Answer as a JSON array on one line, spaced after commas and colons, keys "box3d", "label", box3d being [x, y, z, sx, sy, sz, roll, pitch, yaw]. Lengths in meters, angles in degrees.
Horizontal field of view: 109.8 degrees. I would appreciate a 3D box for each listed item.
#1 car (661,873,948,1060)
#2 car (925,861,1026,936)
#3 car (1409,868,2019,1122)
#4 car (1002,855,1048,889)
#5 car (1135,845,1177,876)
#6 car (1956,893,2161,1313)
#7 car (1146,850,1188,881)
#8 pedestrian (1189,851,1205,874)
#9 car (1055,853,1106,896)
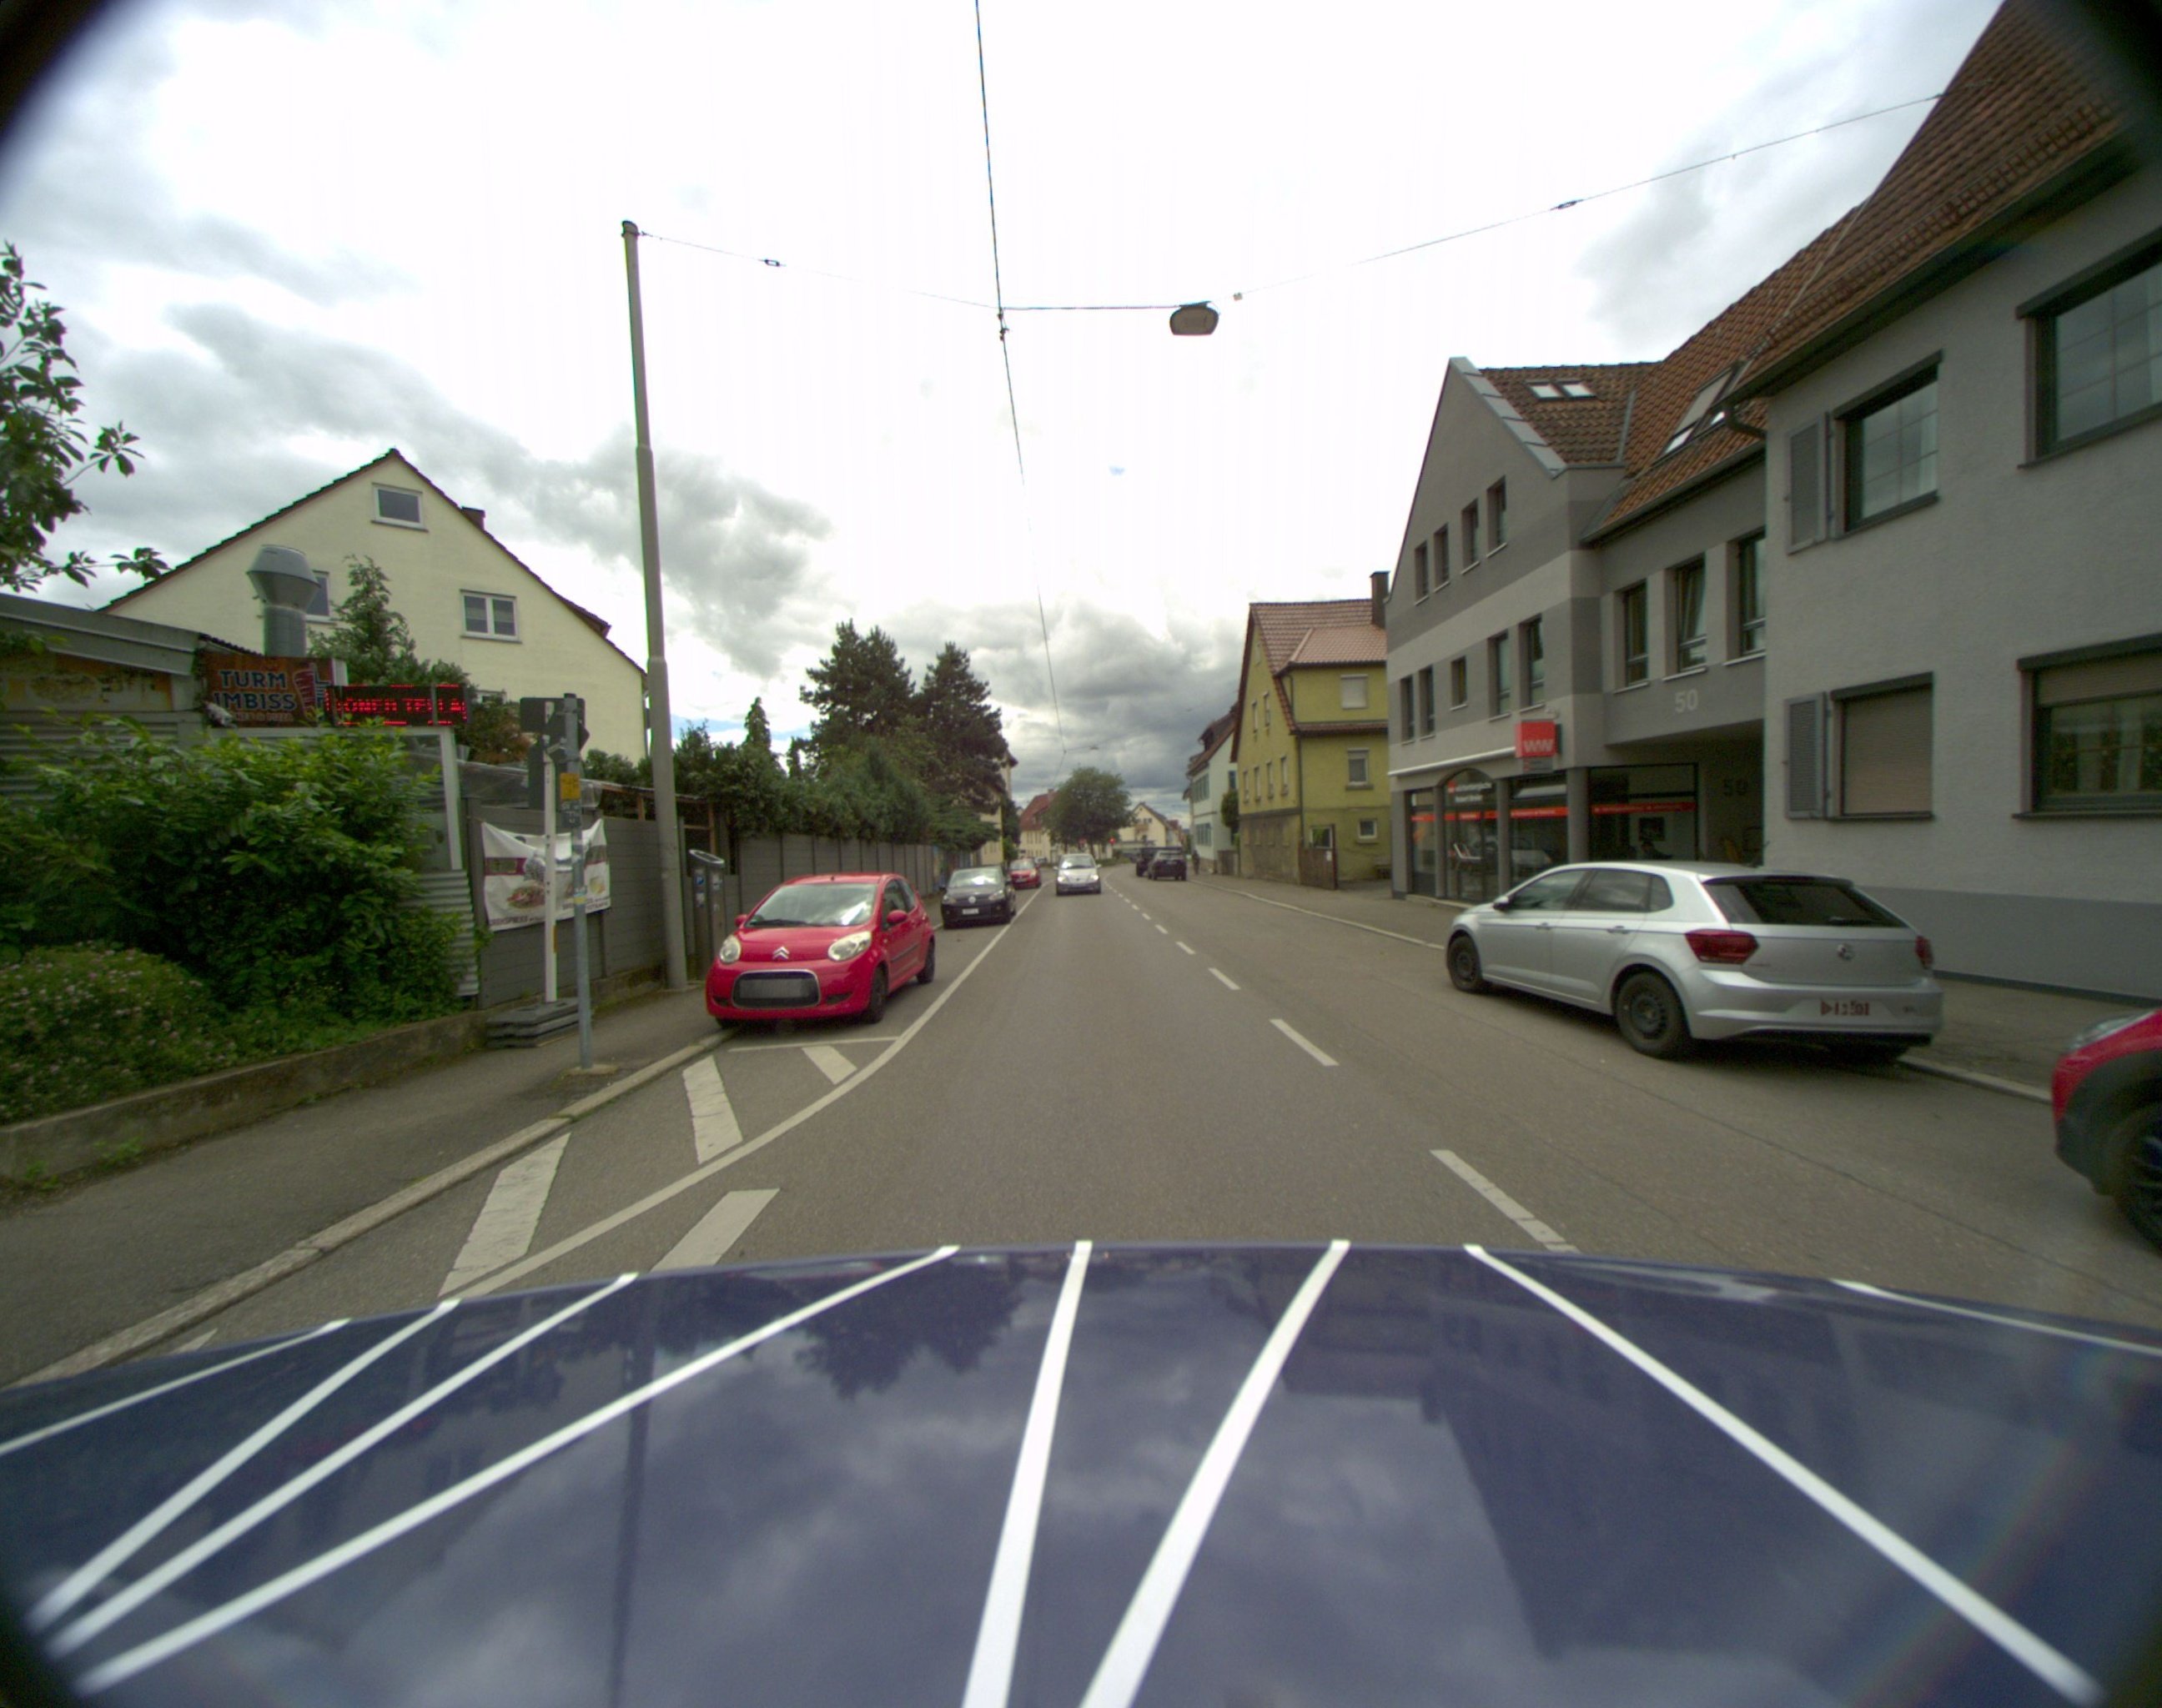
[{"box3d": [-2.783, 1.043, 8.689, 1.719, 1.472, 4.000, -2, 0, 1], "label": "car"}, {"box3d": [-2.549, 1.033, 19.276, 1.819, 1.472, 4.000, -6, 0, 1], "label": "car"}, {"box3d": [4.855, 0.913, 6.864, 1.782, 1.465, 4.351, 0, 0, -2], "label": "car"}, {"box3d": [-2.819, 0.902, 39.236, 1.995, 1.490, 4.351, -4, 0, -1], "label": "car"}, {"box3d": [4.681, 0.369, 48.131, 2.112, 1.839, 4.351, -1, 0, -1], "label": "car"}, {"box3d": [4.775, 0.918, 1.167, 1.863, 1.465, 4.352, 0, 0, 1], "label": "car"}, {"box3d": [4.673, 0.606, 41.870, 1.718, 1.559, 4.351, -1, 0, -1], "label": "car"}, {"box3d": [7.104, 0.507, 46.577, 0.832, 1.368, 0.551, -2, 1, 1], "label": "pedestrian"}, {"box3d": [-0.047, 0.766, 30.441, 1.858, 1.548, 4.351, -1, 0, -1], "label": "car"}]
